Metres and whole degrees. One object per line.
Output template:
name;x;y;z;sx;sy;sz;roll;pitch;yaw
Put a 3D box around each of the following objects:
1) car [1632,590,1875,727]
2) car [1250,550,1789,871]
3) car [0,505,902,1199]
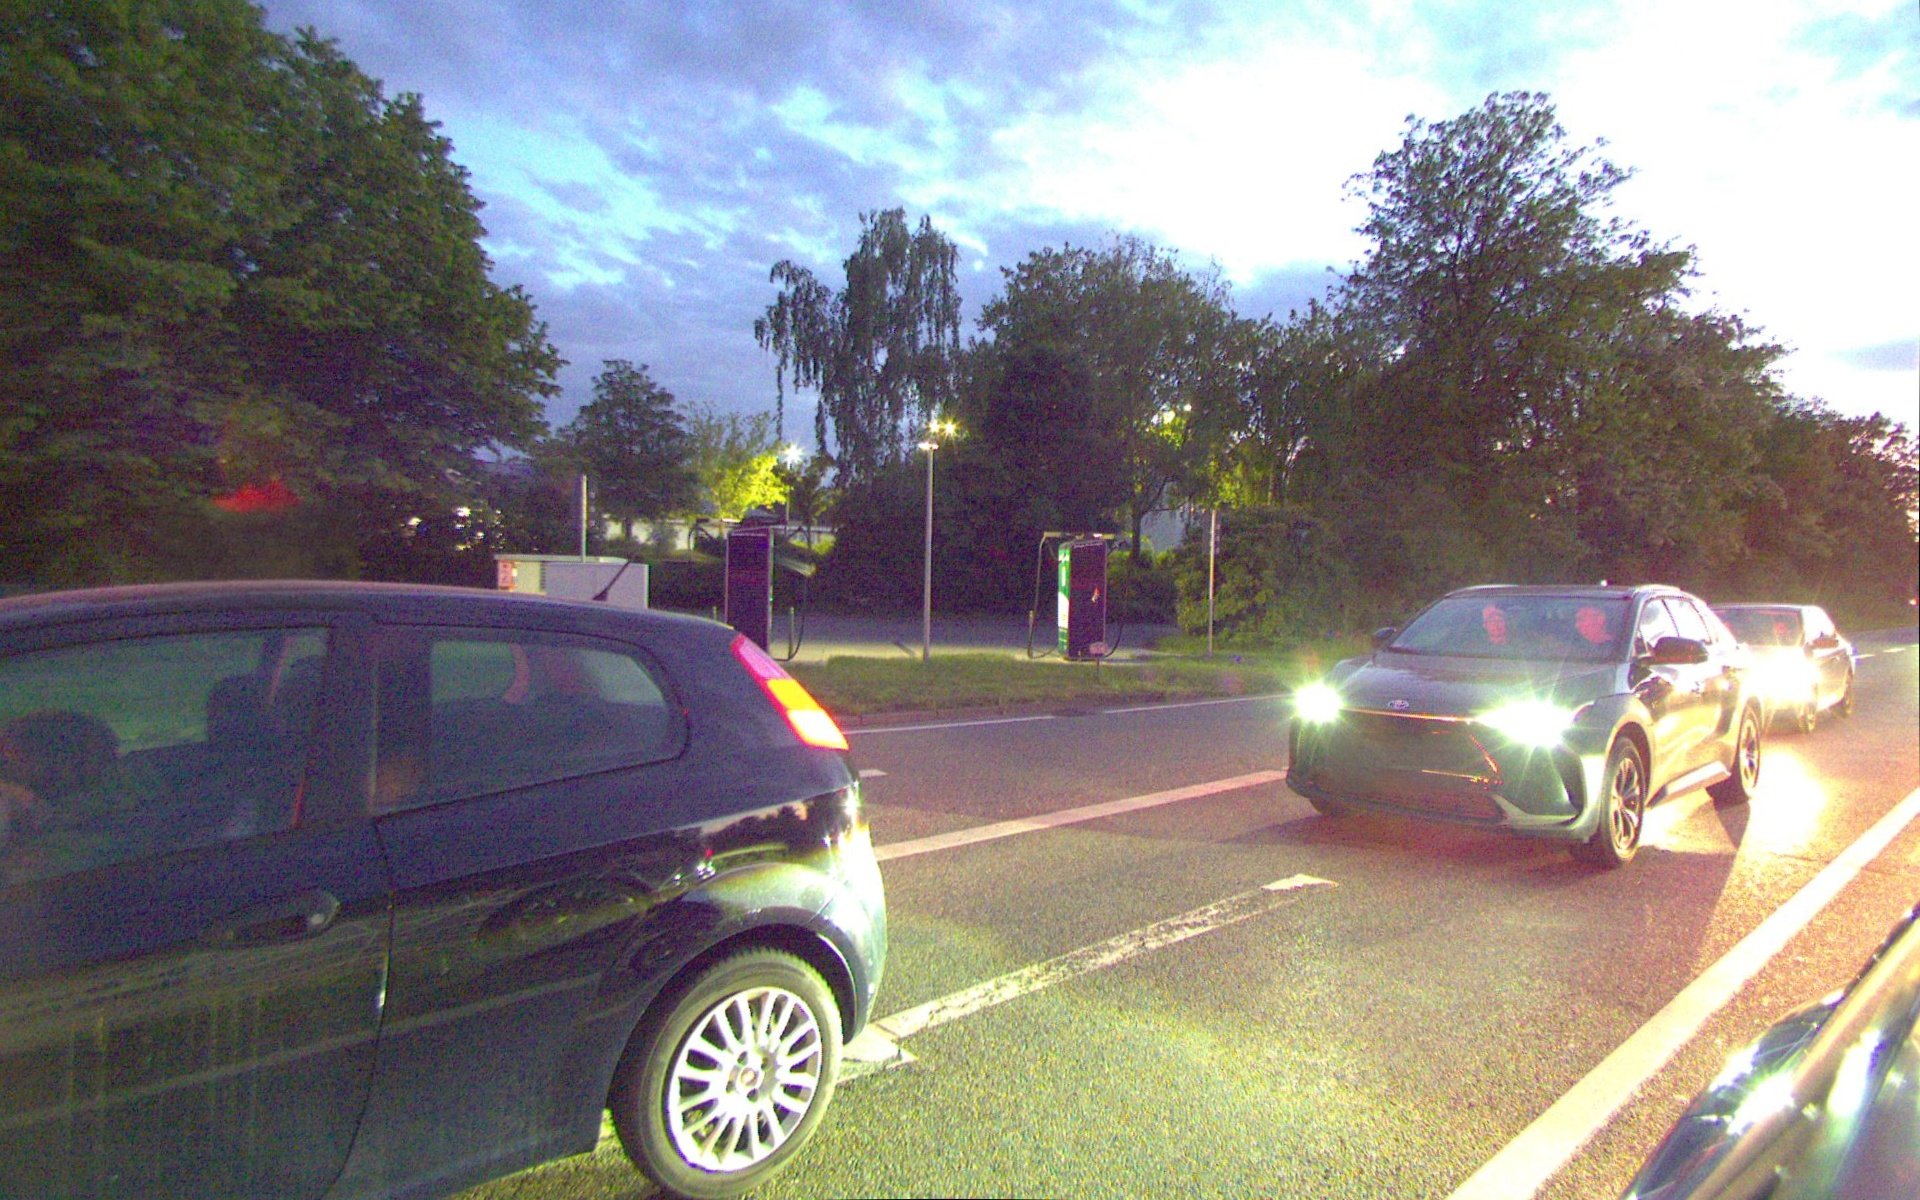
car;9.903;0.633;12.545;3.688;1.431;1.621;1;1;-40
car;4.075;0.572;7.083;4.223;1.577;1.901;1;-1;-40
car;-2.081;0.617;2.194;3.649;1.556;1.662;0;1;-40
